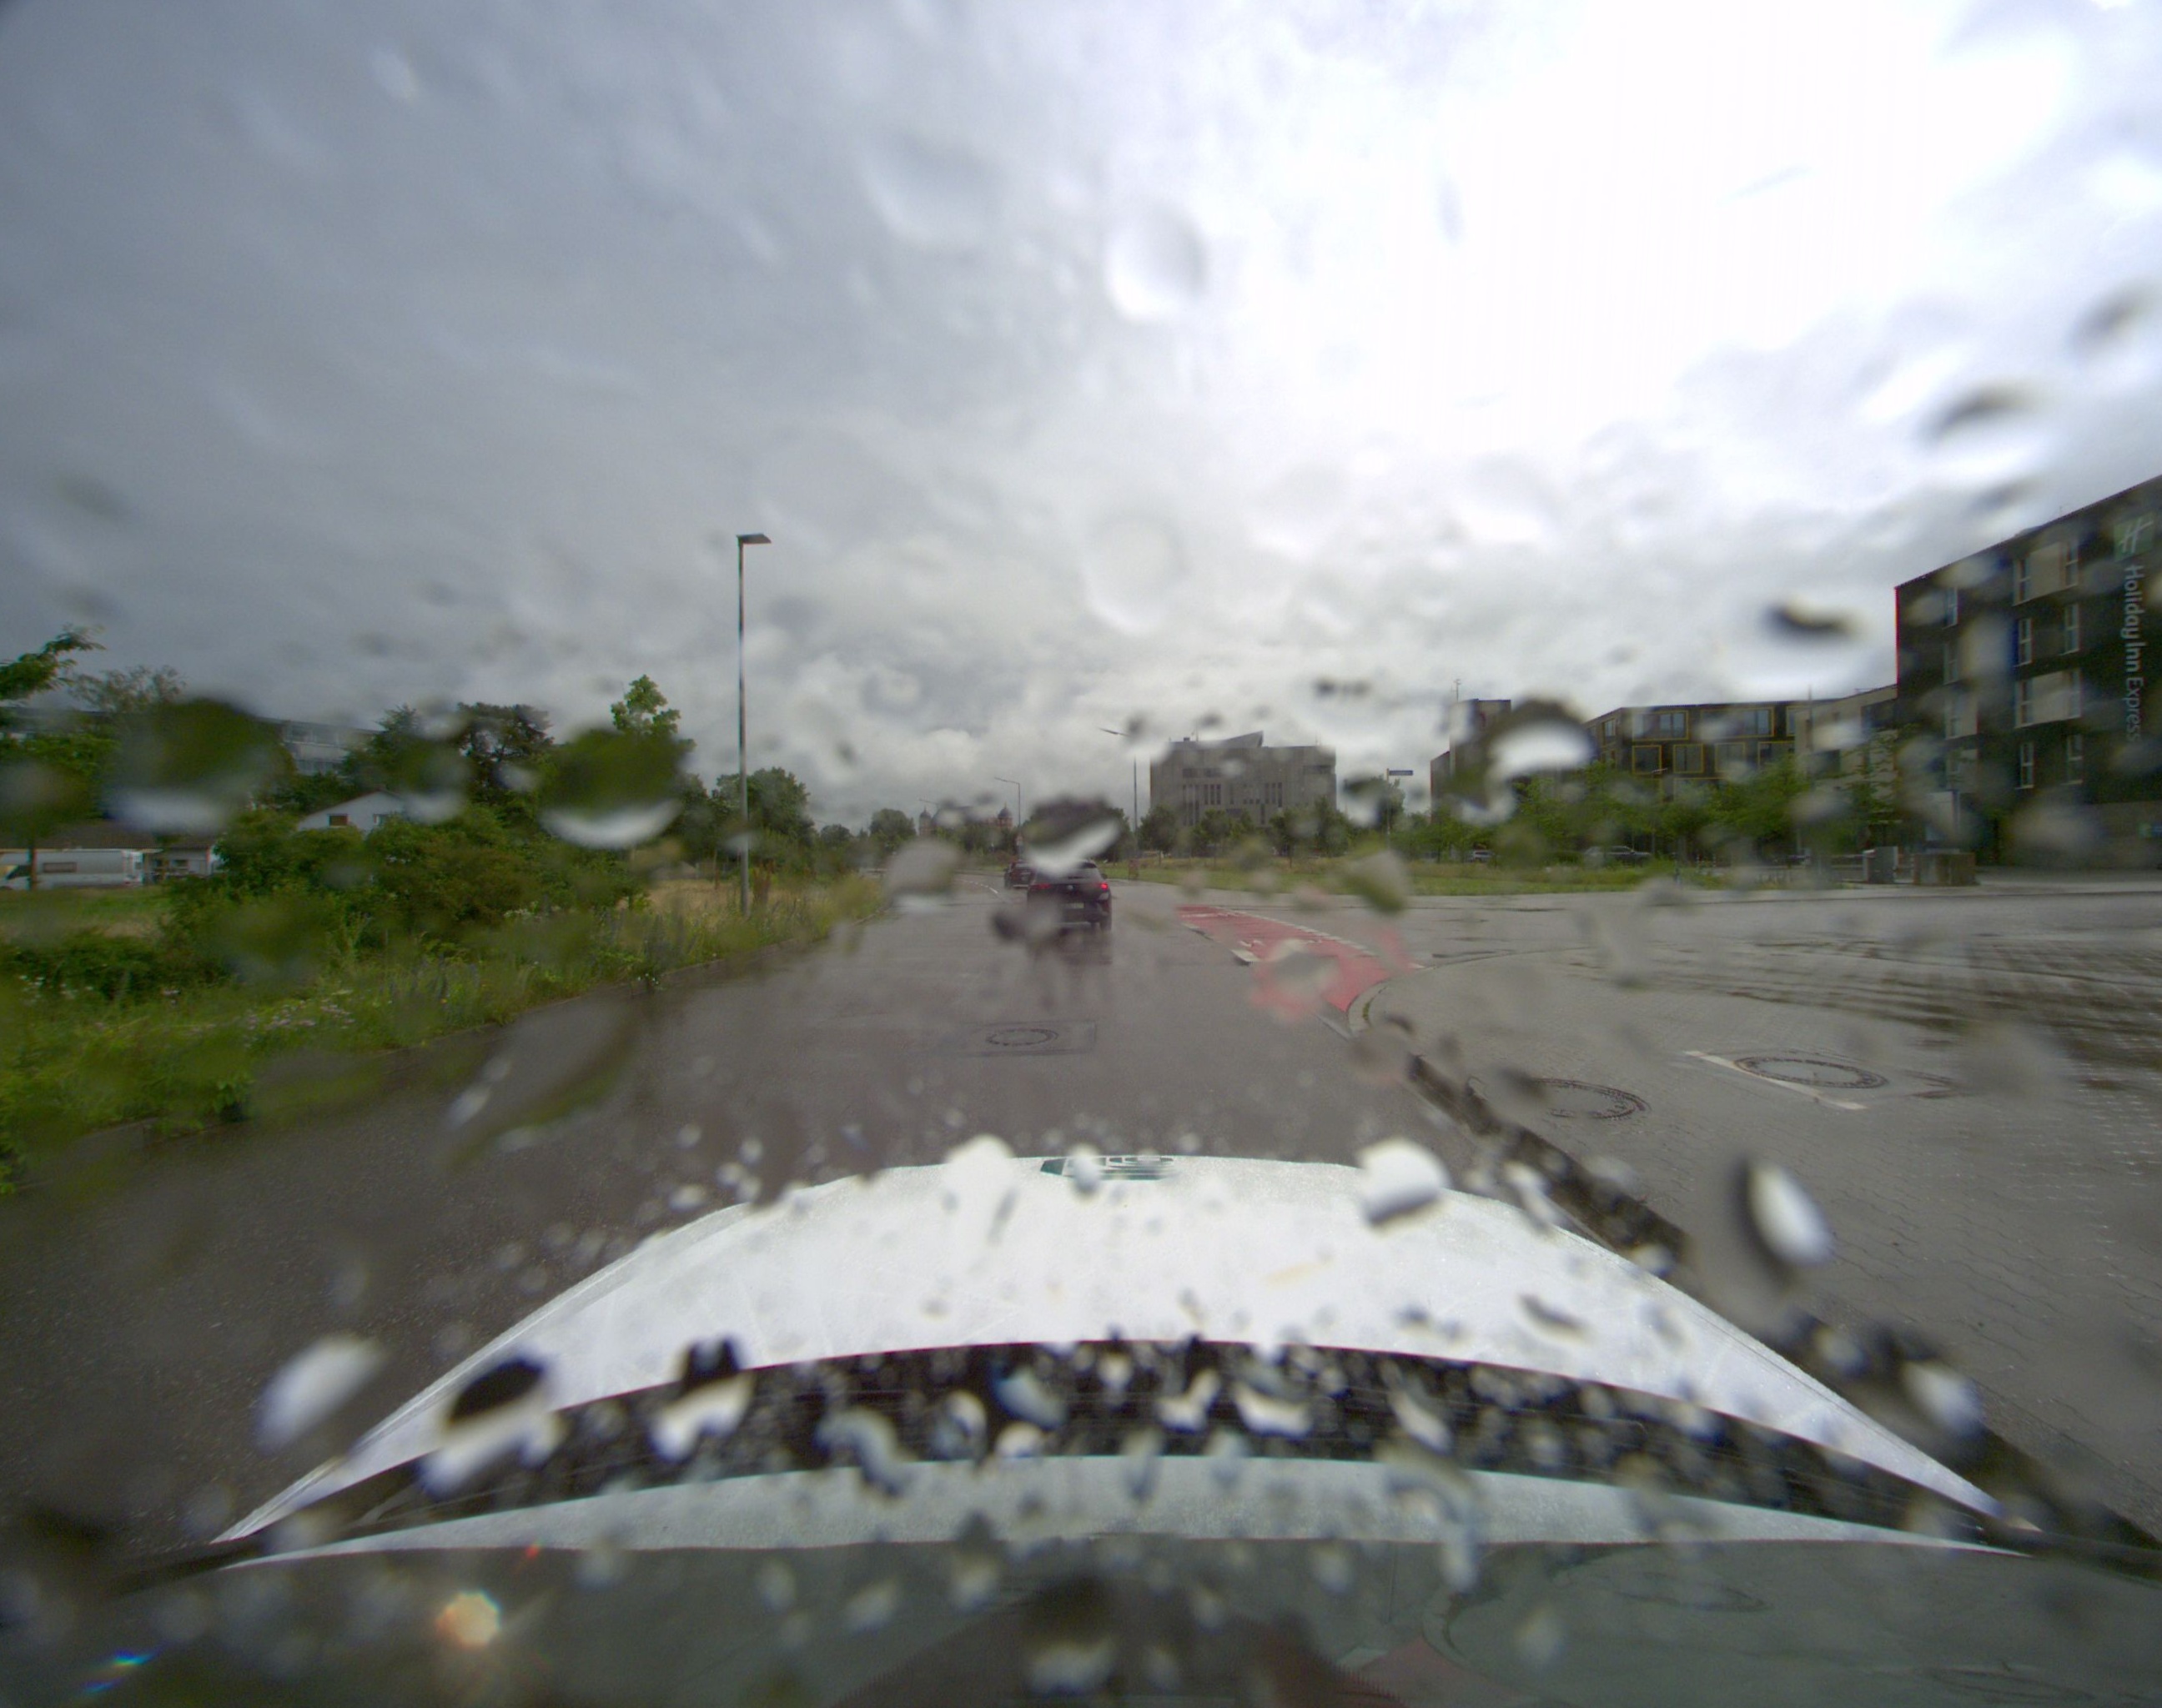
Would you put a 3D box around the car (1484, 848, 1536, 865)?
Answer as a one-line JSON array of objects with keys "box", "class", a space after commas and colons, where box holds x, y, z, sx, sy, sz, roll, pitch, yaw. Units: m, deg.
[{"box": [45.392, 0.284, 86.296, 4.509, 1.762, 2.008, -1, 0, 15], "class": "car"}]

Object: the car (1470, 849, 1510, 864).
[{"box": [48.181, 0.347, 96.087, 3.957, 1.721, 1.776, -1, -1, 15], "class": "car"}]

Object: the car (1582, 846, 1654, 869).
[{"box": [40.600, 0.257, 61.664, 4.174, 1.557, 1.673, -2, -1, 15], "class": "car"}]

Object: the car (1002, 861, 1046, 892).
[{"box": [-3.103, 1.178, 43.620, 1.842, 1.442, 3.985, -3, 0, -11], "class": "car"}]

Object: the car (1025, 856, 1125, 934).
[{"box": [-0.251, 0.826, 18.331, 1.983, 1.520, 3.994, -1, 0, -4], "class": "car"}]

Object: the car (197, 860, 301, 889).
[{"box": [-56.413, 1.363, 55.338, 4.529, 1.775, 1.982, -1, 0, -27], "class": "car"}]

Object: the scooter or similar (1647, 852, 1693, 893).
[{"box": [18.193, 0.573, 25.146, 1.284, 1.187, 0.500, -2, 1, -18], "class": "scooter or similar"}]

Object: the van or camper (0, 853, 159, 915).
[{"box": [-64.001, 1.823, 52.201, 5.864, 3.744, 2.631, -1, -1, -27], "class": "van or camper"}]

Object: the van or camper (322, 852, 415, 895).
[{"box": [-51.513, 1.361, 59.010, 4.526, 2.946, 2.462, -1, -1, -27], "class": "van or camper"}]
